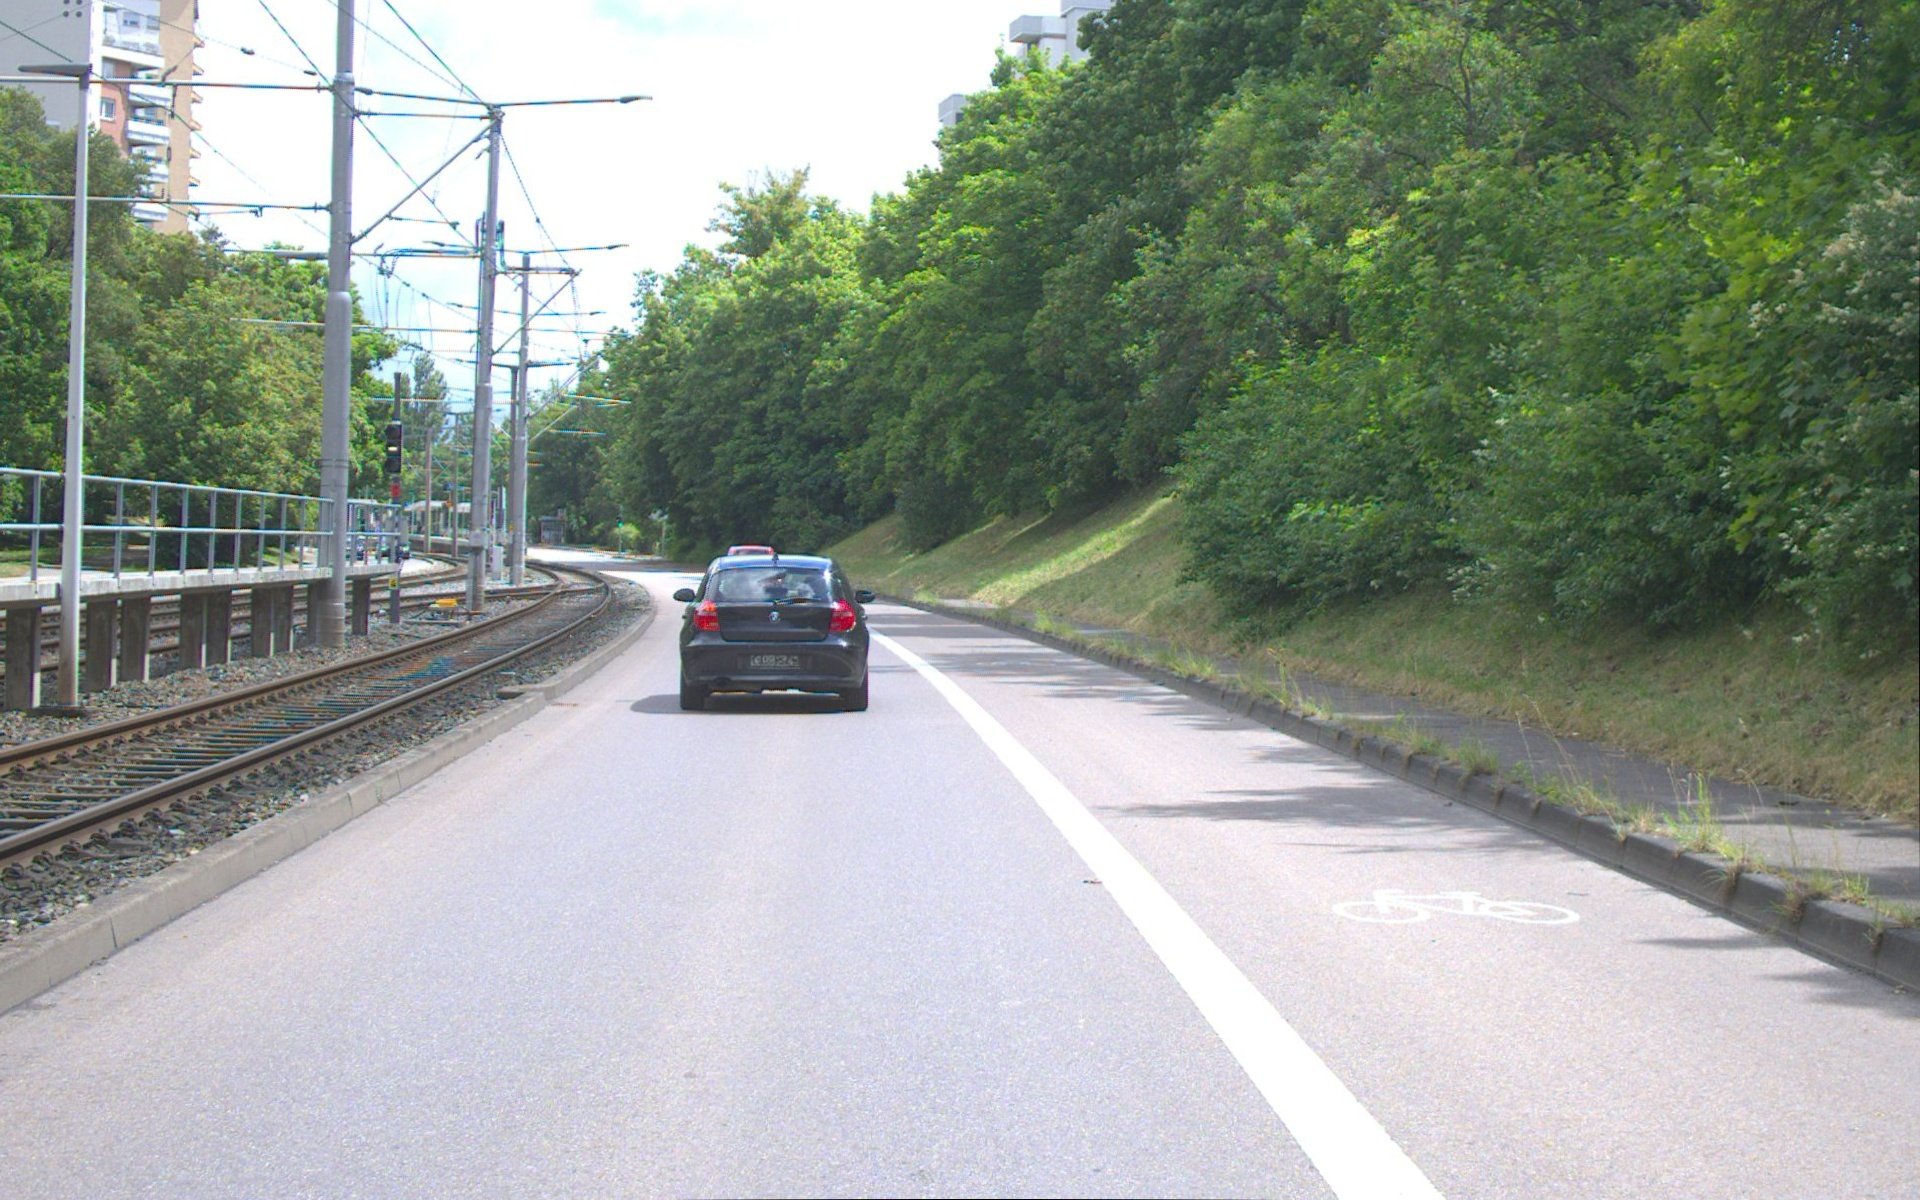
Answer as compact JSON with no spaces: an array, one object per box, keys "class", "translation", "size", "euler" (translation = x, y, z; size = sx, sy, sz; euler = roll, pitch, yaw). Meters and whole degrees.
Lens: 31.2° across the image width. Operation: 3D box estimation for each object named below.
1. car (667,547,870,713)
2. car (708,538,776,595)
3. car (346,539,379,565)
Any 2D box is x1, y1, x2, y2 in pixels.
[{"class":"car","translation":[-1.770,0.234,32.211],"size":[1.781,1.454,3.921],"euler":[0,1,-3]},{"class":"car","translation":[-5.892,-0.912,93.129],"size":[1.781,1.454,3.921],"euler":[1,1,-3]},{"class":"car","translation":[-34.859,-2.802,200.479],"size":[1.774,1.493,3.998],"euler":[1,1,-11]}]
